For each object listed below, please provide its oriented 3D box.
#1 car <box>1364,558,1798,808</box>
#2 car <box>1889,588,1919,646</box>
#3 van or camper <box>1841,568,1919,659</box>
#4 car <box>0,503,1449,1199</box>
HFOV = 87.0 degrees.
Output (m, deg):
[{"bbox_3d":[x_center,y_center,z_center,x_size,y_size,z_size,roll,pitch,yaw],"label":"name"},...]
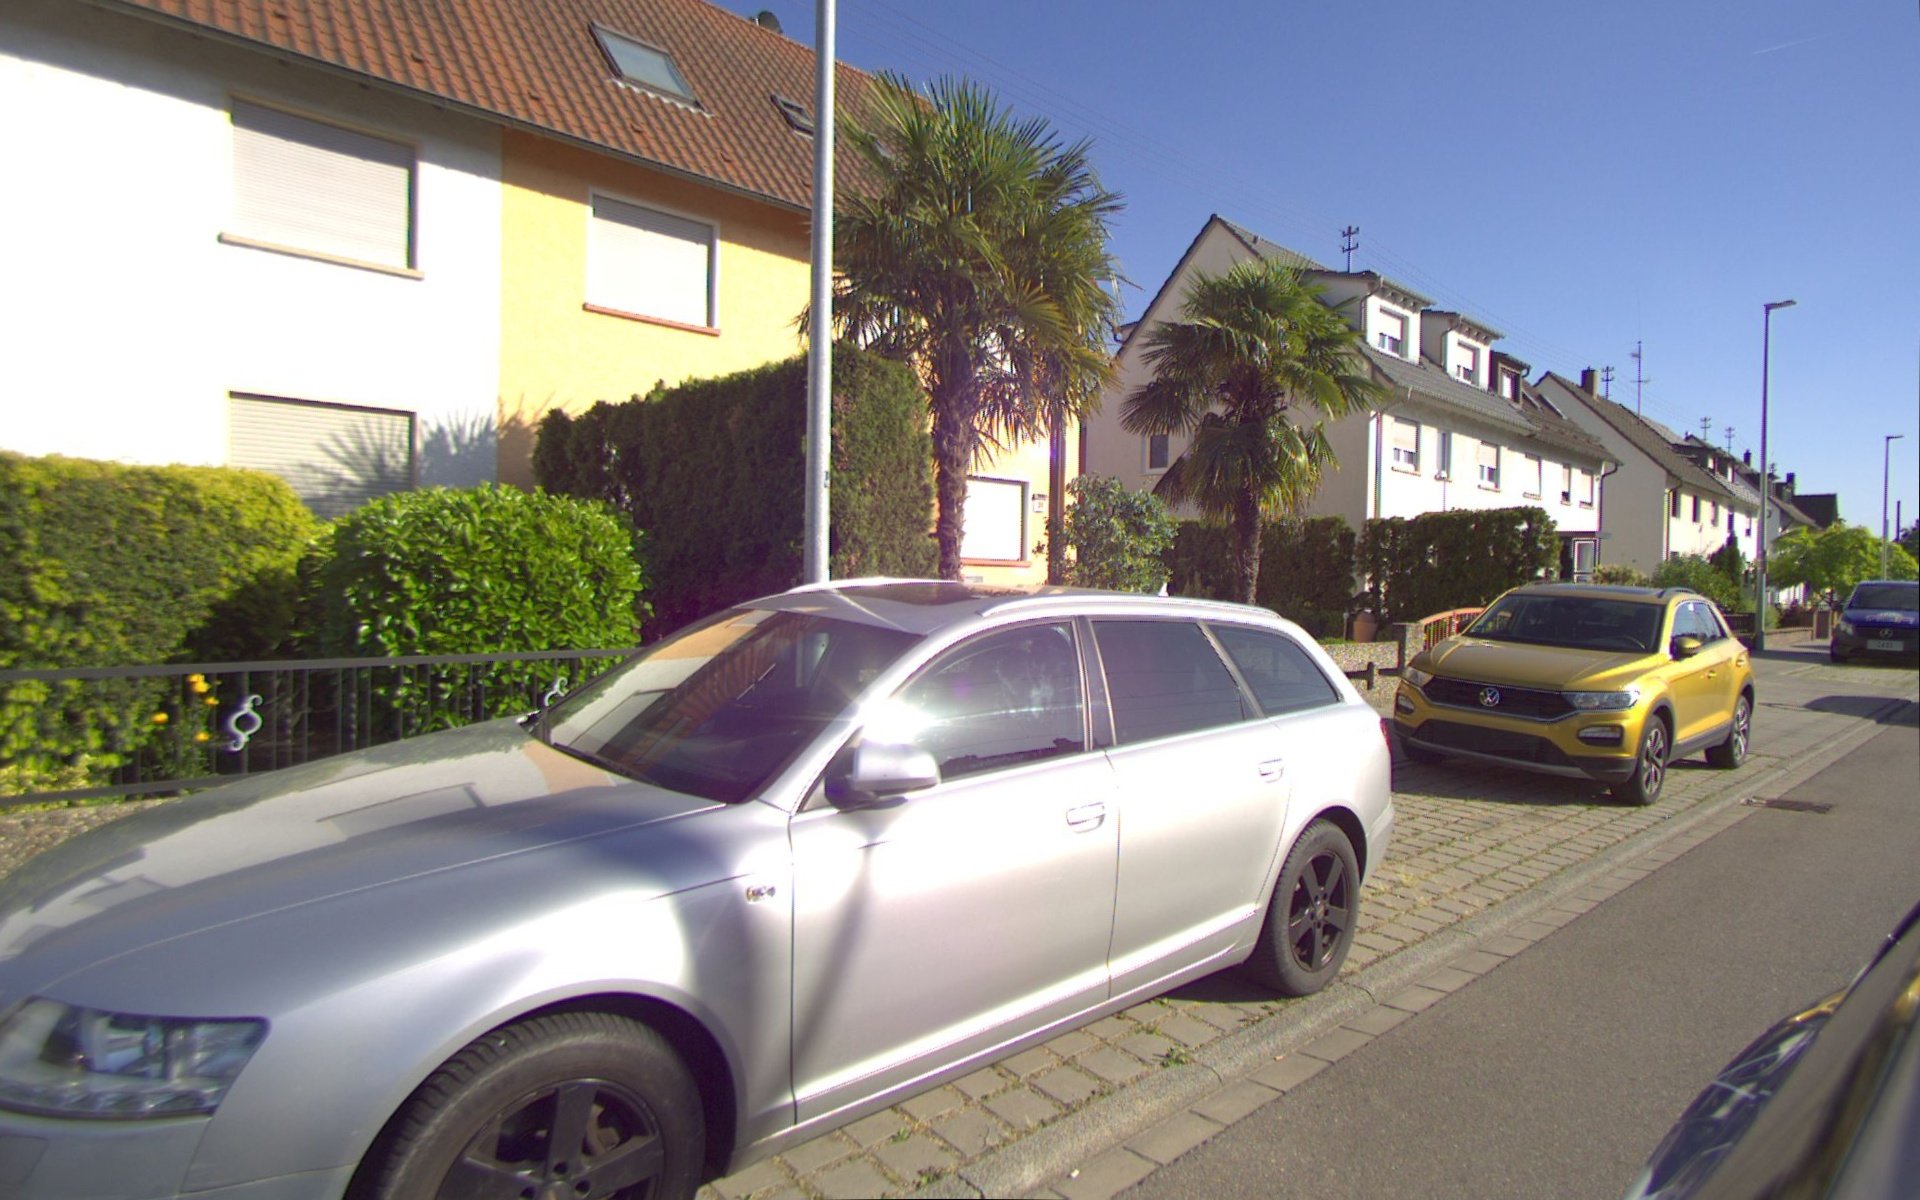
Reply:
[{"bbox_3d":[5.562,0.482,8.751,4.841,1.578,1.809,-1,3,-41],"label":"car"},{"bbox_3d":[26.855,0.436,27.797,1.731,1.476,5.200,3,2,45],"label":"car"},{"bbox_3d":[21.903,0.258,23.174,5.488,1.869,1.952,-1,3,-43],"label":"van or camper"},{"bbox_3d":[-0.268,0.591,3.396,4.616,1.465,1.751,1,2,-41],"label":"car"}]
